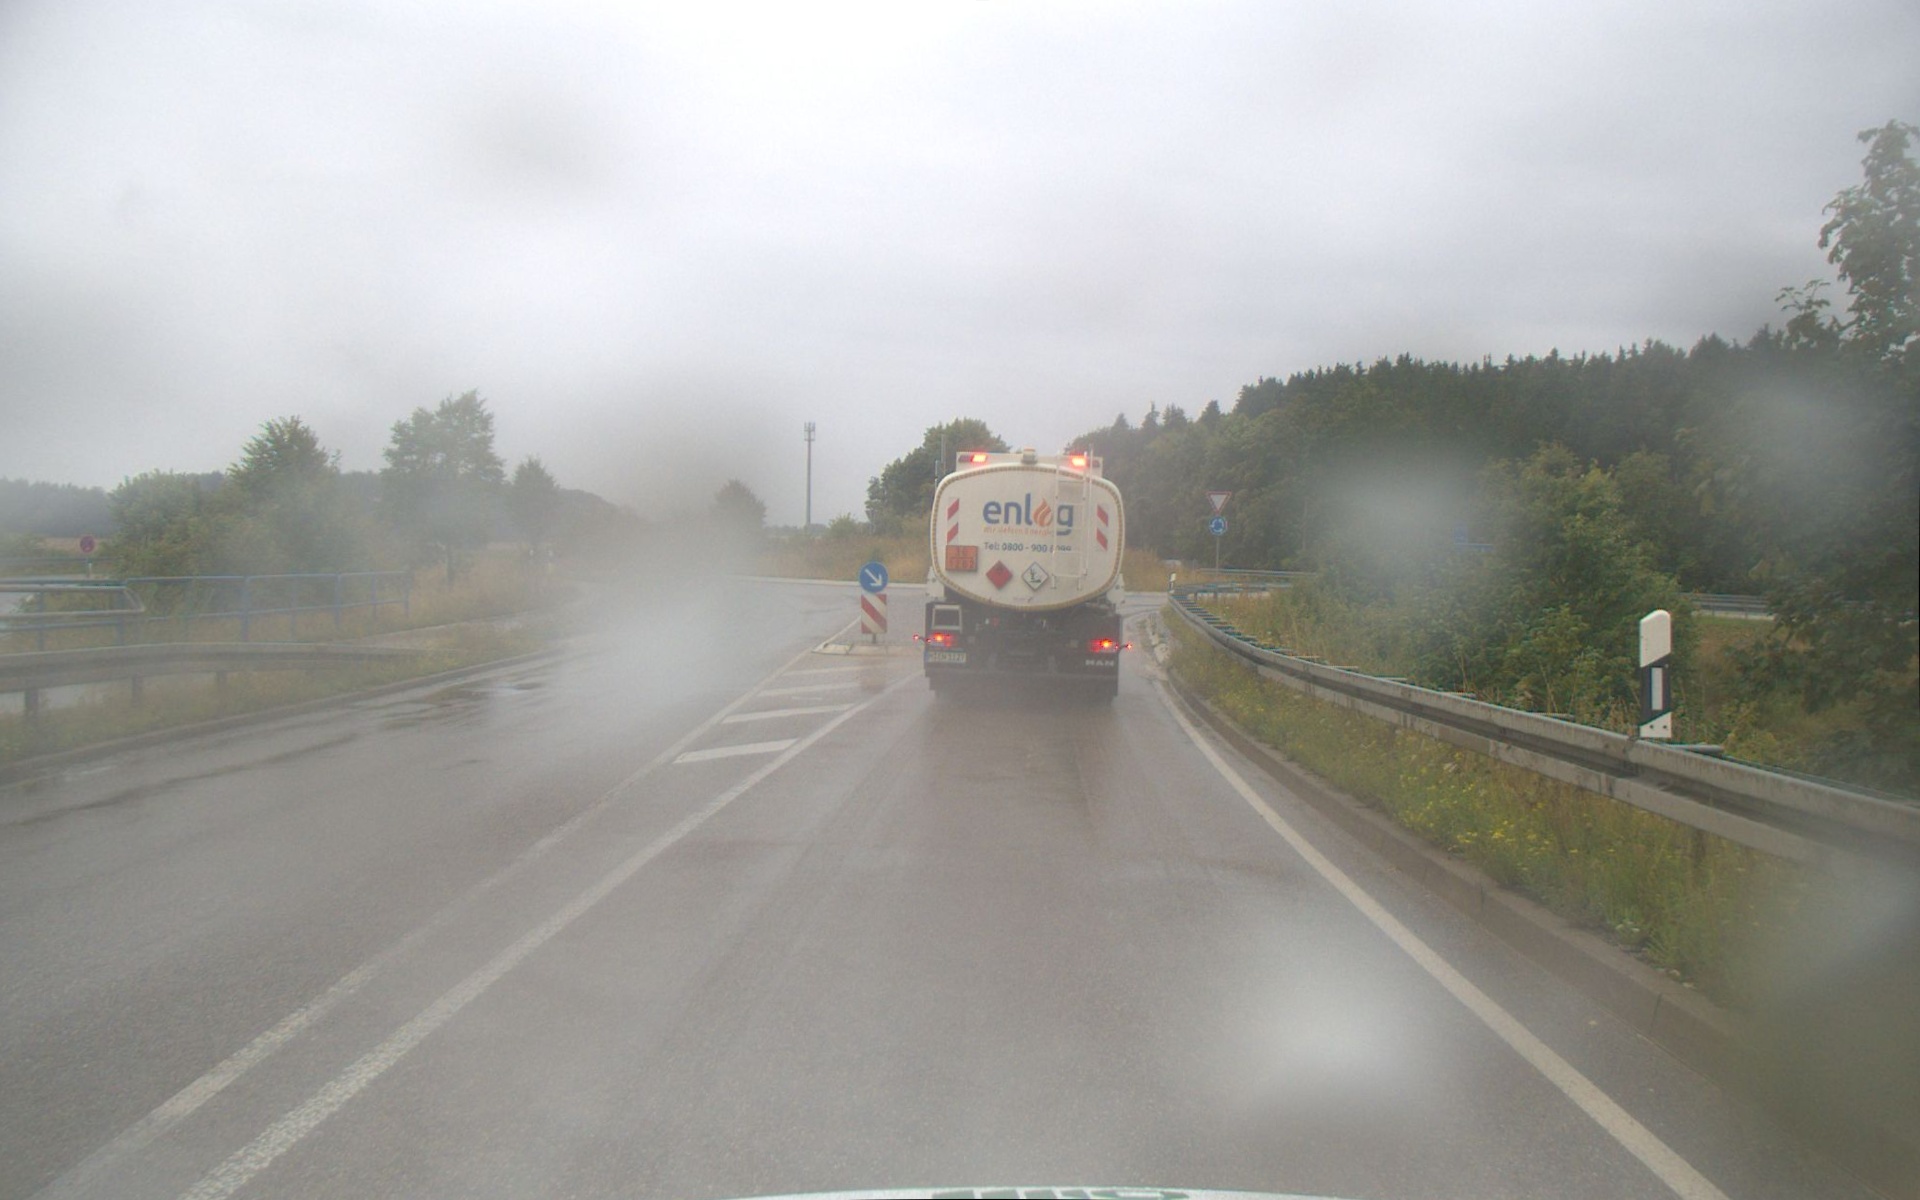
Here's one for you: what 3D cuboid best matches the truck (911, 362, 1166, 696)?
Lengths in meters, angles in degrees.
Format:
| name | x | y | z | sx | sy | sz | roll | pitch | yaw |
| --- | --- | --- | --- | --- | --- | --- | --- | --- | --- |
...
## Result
| name | x | y | z | sx | sy | sz | roll | pitch | yaw |
| --- | --- | --- | --- | --- | --- | --- | --- | --- | --- |
| truck | 1.075 | -0.967 | 23.982 | 2.976 | 3.918 | 8.826 | 1 | 2 | 2 |
